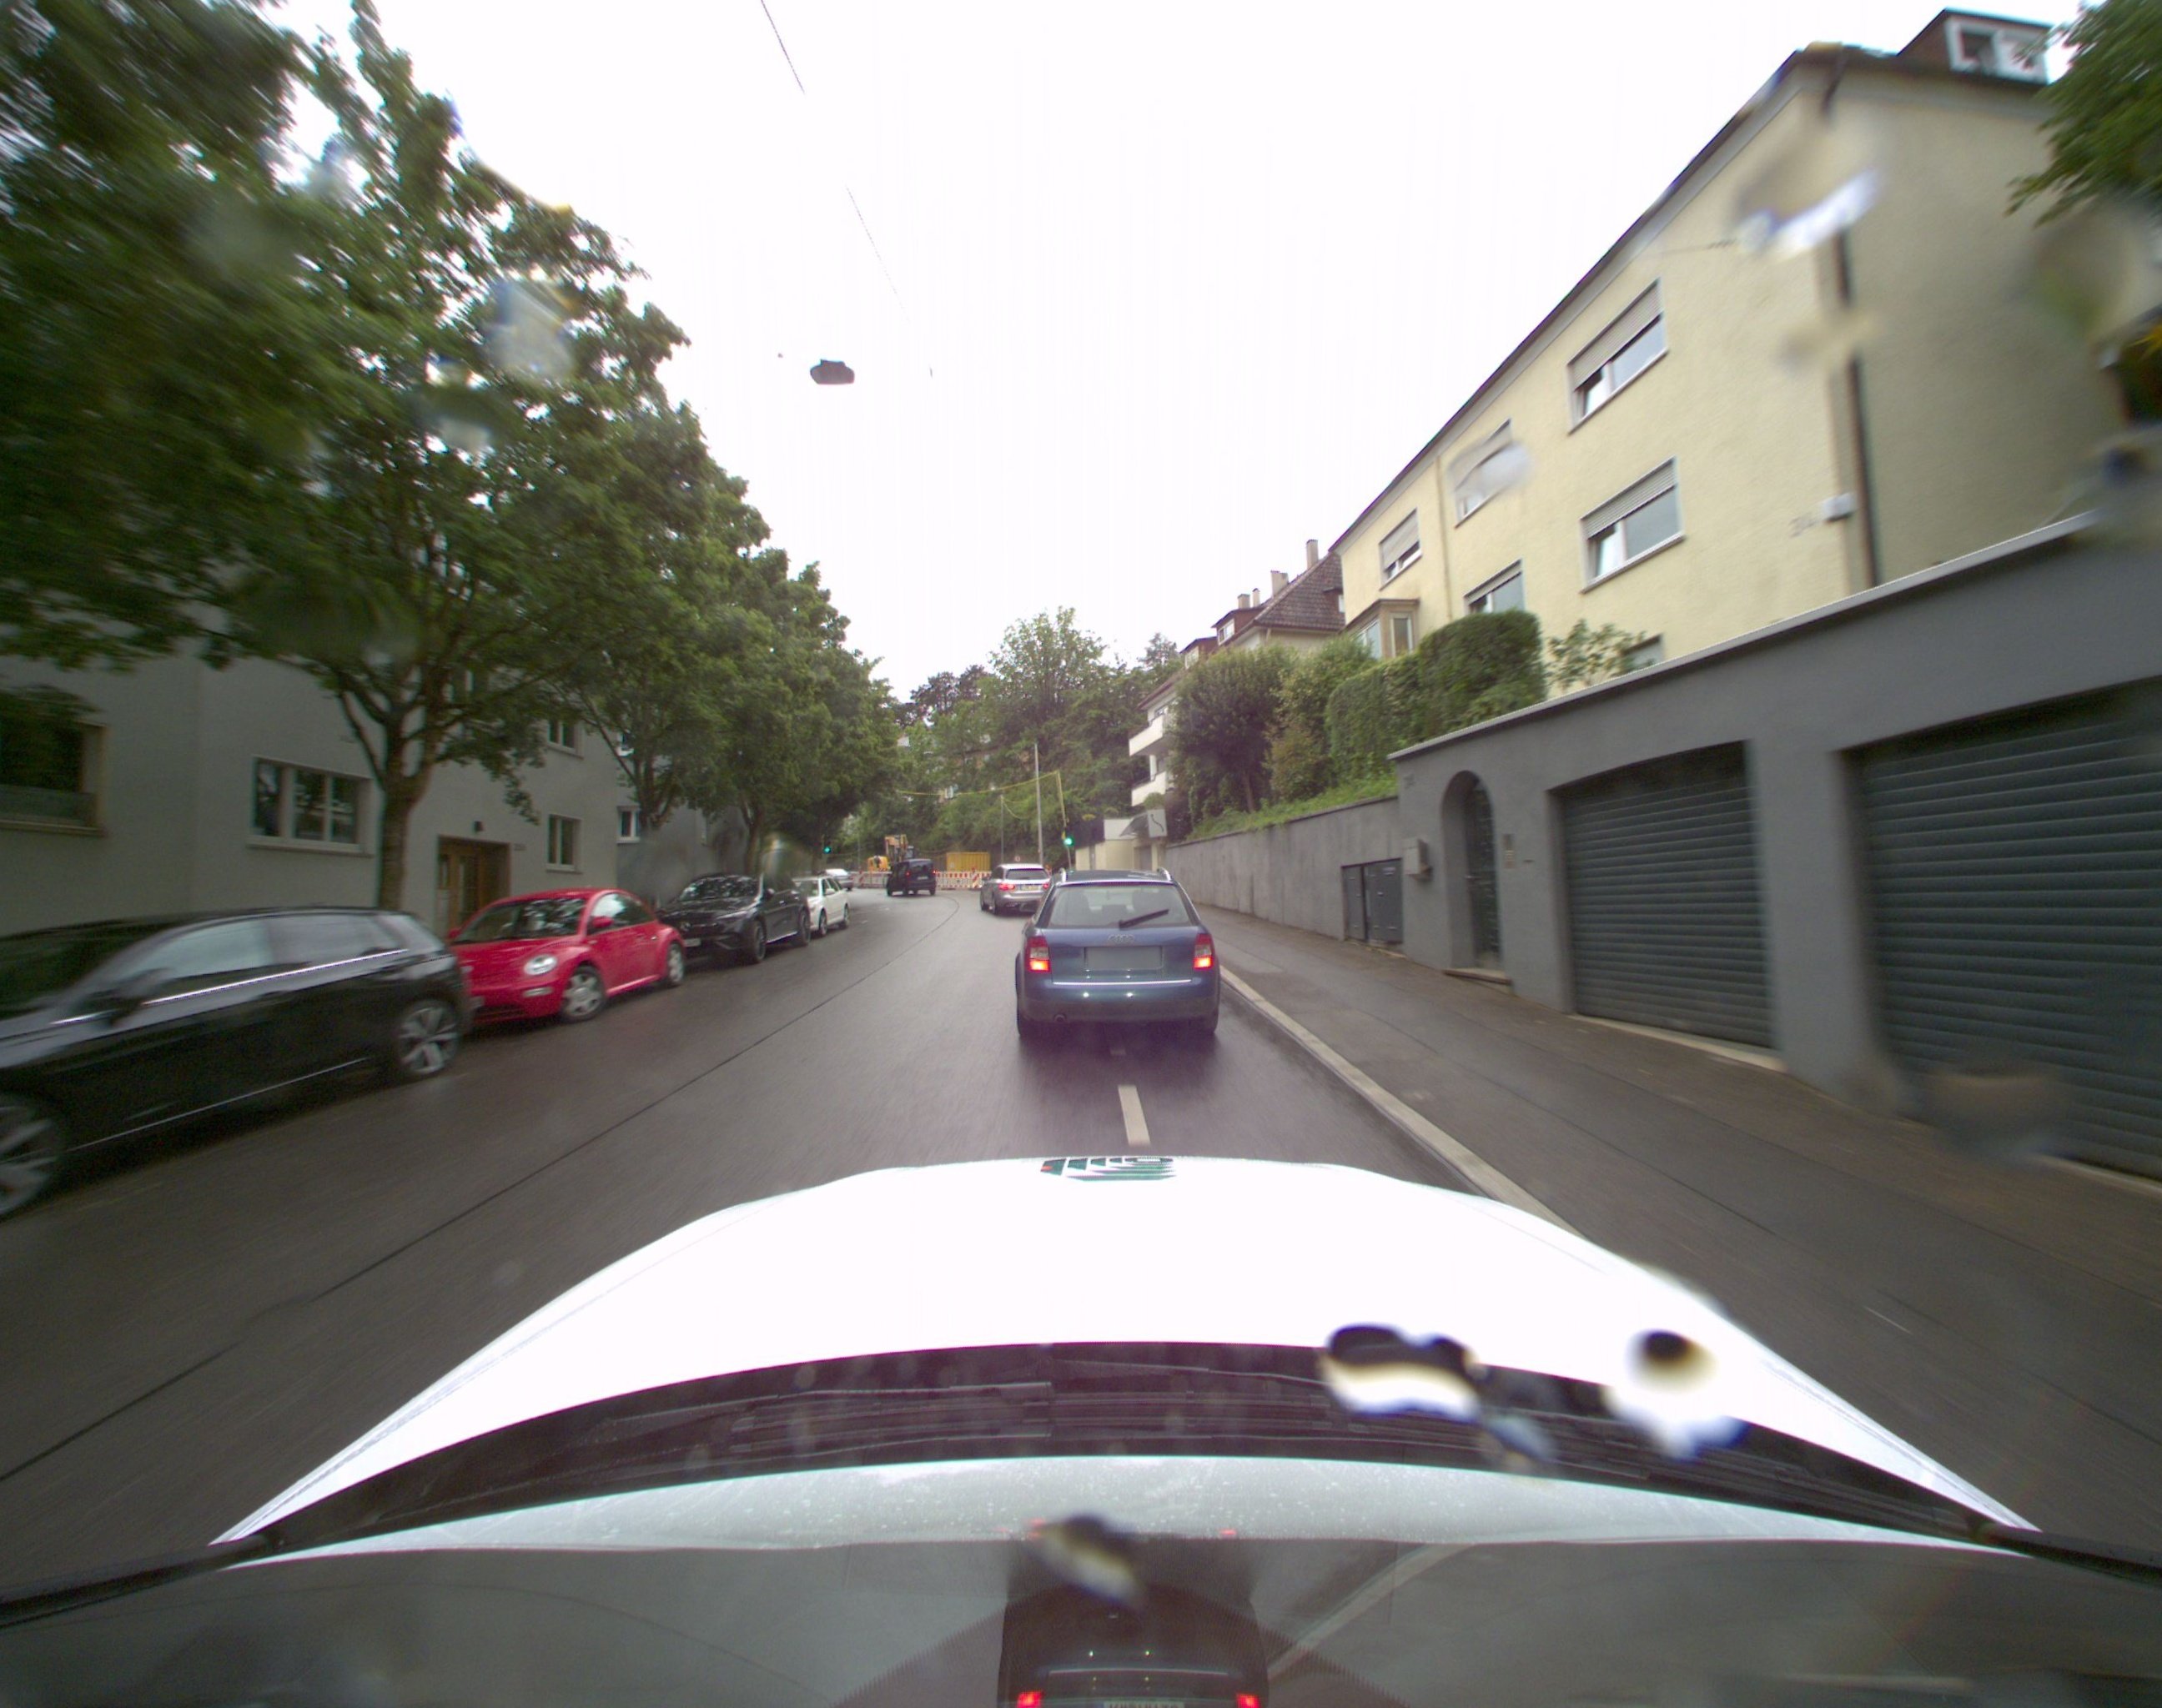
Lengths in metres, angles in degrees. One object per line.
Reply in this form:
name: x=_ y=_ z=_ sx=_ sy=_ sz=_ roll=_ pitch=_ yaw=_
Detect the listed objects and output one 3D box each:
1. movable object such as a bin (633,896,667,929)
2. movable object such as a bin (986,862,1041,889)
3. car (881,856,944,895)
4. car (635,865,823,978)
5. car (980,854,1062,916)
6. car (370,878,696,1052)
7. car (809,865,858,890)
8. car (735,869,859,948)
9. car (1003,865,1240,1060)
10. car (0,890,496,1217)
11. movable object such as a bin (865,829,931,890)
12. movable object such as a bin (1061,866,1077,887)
movable object such as a bin: x=-13.272 y=1.787 z=25.075 sx=0.652 sy=0.951 sz=0.645 roll=-2 pitch=0 yaw=5
movable object such as a bin: x=-4.134 y=1.245 z=49.093 sx=2.004 sy=1.519 sz=3.966 roll=-1 pitch=0 yaw=-26
car: x=-8.809 y=1.124 z=42.325 sx=2.006 sy=1.794 sz=3.962 roll=-3 pitch=0 yaw=-29
car: x=-6.321 y=1.102 z=15.235 sx=1.679 sy=1.608 sz=4.570 roll=-5 pitch=0 yaw=-4
car: x=-1.910 y=0.855 z=24.566 sx=1.927 sy=1.618 sz=4.304 roll=-2 pitch=0 yaw=-11
car: x=-6.360 y=1.154 z=10.045 sx=1.631 sy=1.565 sz=3.839 roll=-5 pitch=-1 yaw=-6
car: x=-16.241 y=1.555 z=53.426 sx=1.734 sy=1.486 sz=4.030 roll=-3 pitch=0 yaw=-37
car: x=-6.913 y=1.252 z=20.305 sx=1.678 sy=1.508 sz=4.310 roll=-5 pitch=0 yaw=-4
car: x=0.348 y=0.844 z=8.126 sx=1.779 sy=1.442 sz=3.964 roll=0 pitch=-1 yaw=1
car: x=-5.983 y=1.098 z=5.057 sx=1.550 sy=1.488 sz=4.098 roll=-6 pitch=-1 yaw=1
movable object such as a bin: x=-13.195 y=0.373 z=58.253 sx=2.834 sy=4.014 sz=7.263 roll=-2 pitch=0 yaw=-26
movable object such as a bin: x=-0.608 y=1.124 z=41.661 sx=0.719 sy=1.032 sz=0.590 roll=-3 pitch=-1 yaw=-8
